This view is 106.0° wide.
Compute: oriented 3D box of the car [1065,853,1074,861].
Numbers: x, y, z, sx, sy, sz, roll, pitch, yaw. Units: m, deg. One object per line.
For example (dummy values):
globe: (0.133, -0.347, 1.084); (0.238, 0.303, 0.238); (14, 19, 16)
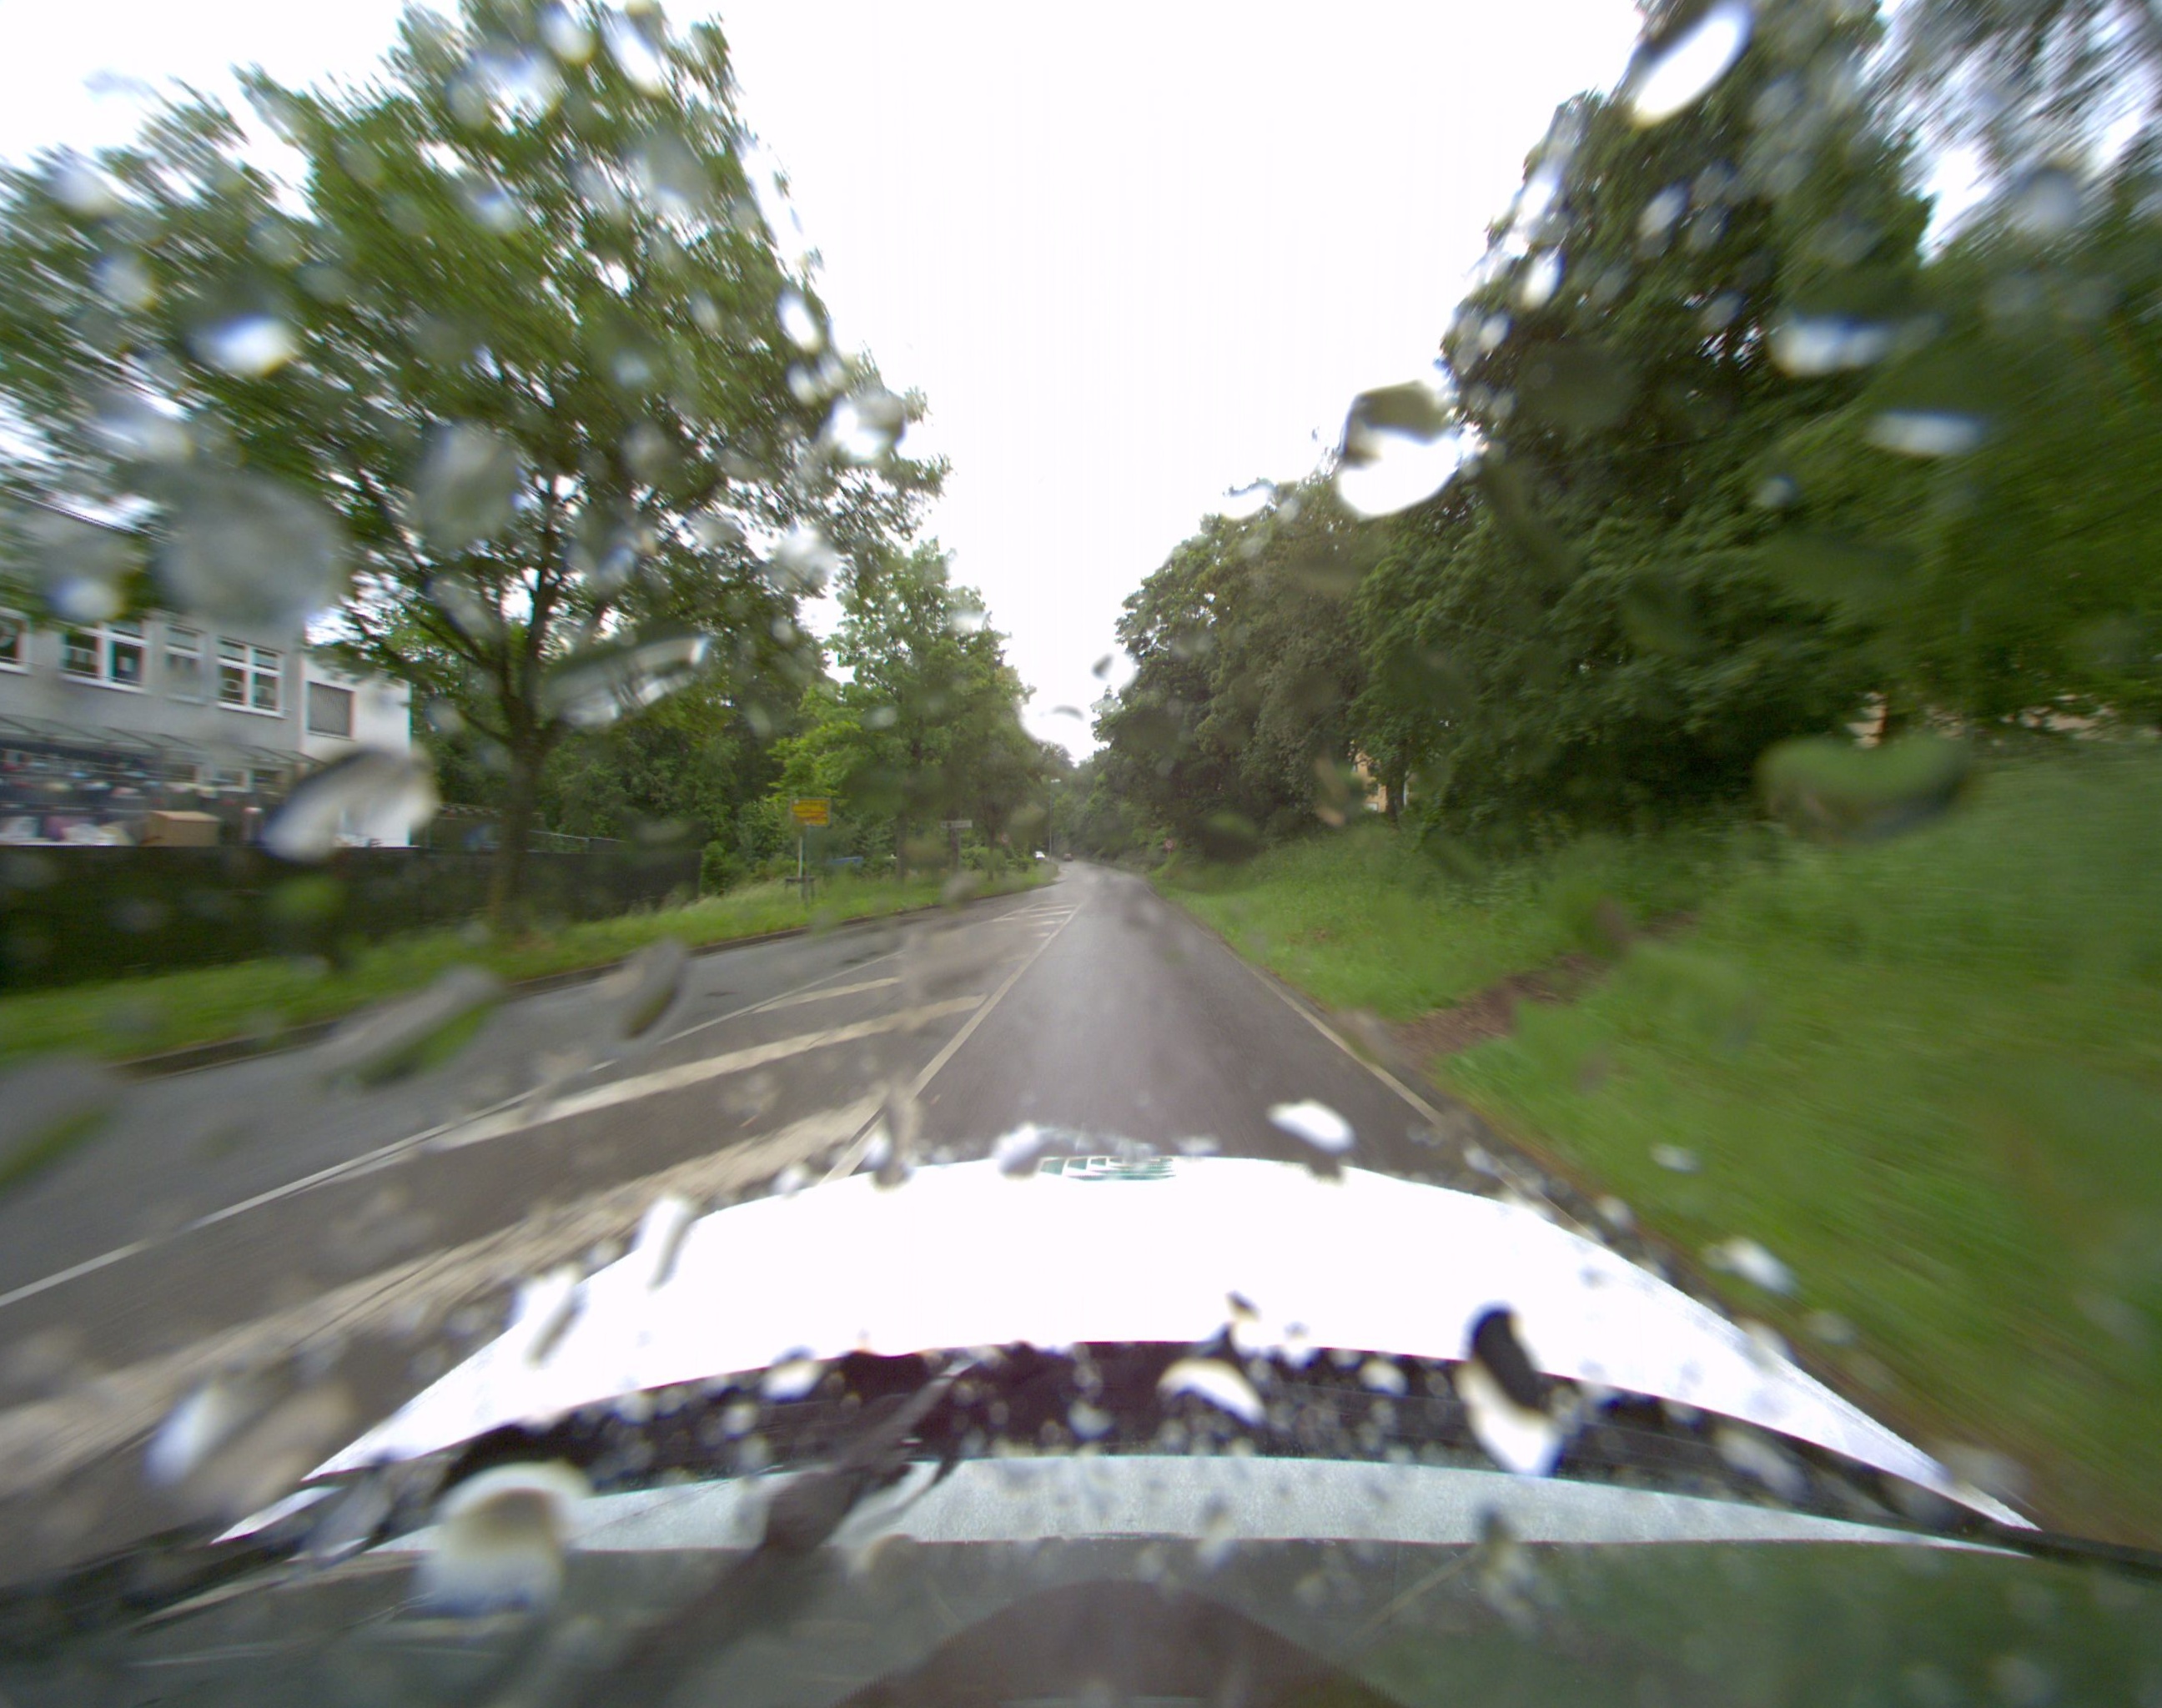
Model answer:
car: (-2.399, 0.631, 170.998); (1.731, 1.510, 4.000); (-2, 0, 0)

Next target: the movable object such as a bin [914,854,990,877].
movable object such as a bin: (-11.322, 1.008, 72.277); (1.828, 1.908, 7.958); (-1, -1, 33)

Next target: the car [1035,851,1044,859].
car: (-9.197, 0.232, 181.989); (1.809, 1.648, 4.129); (-1, -1, -1)

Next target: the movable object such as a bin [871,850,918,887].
movable object such as a bin: (-14.951, 1.127, 65.500); (1.978, 2.861, 4.017); (0, -1, 17)

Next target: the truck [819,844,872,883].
truck: (-15.595, 0.575, 54.255); (1.987, 2.458, 5.222); (1, 0, 0)

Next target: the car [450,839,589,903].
car: (-22.735, 0.784, 33.302); (1.899, 1.917, 5.222); (0, -9, 0)
